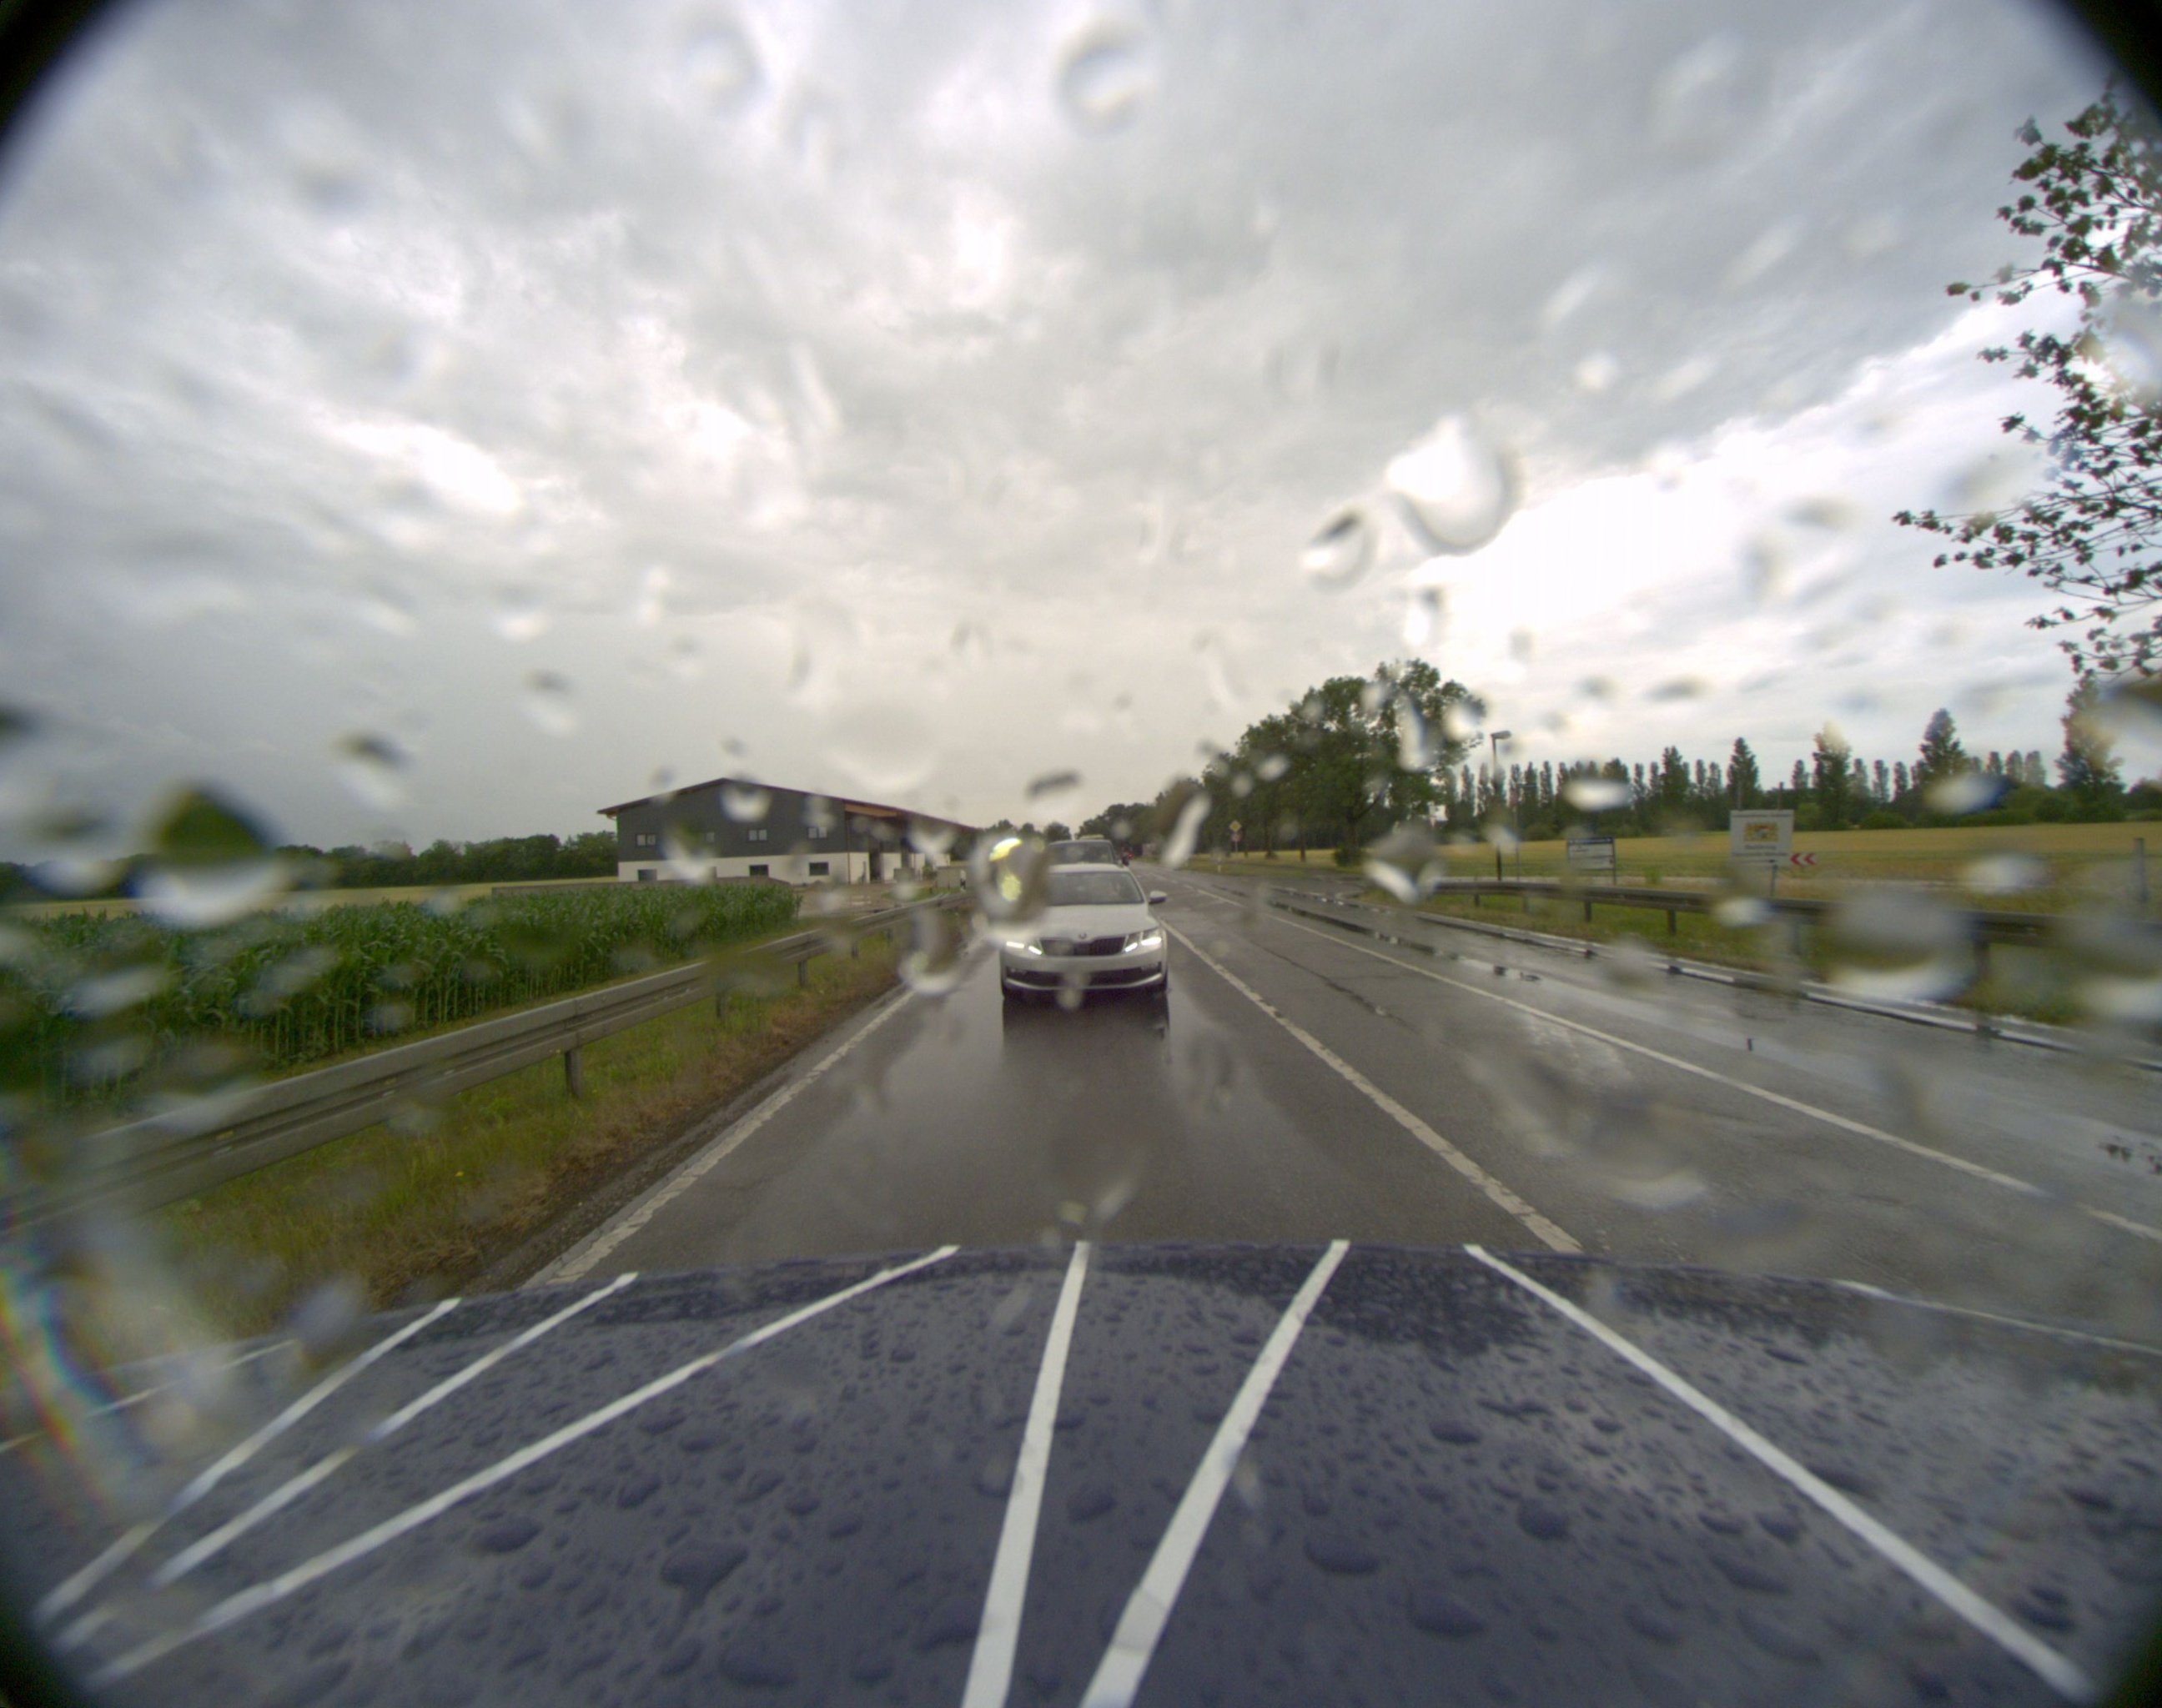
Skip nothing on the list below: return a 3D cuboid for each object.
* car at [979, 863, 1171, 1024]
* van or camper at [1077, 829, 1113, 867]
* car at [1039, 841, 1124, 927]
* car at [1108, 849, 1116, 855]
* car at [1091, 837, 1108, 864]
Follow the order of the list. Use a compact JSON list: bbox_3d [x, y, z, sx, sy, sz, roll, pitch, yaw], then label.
[{"bbox_3d":[0.002,0.880,9.515,1.770,1.365,4.575,-3,0,2],"label":"car"},{"bbox_3d":[1.510,-0.628,79.107,3.342,3.624,8.373,-3,1,2],"label":"van or camper"},{"bbox_3d":[0.073,0.672,19.588,1.841,1.888,4.575,-3,1,2],"label":"car"},{"bbox_3d":[7.963,-0.448,195.991,1.773,1.514,4.141,-1,0,1],"label":"car"},{"bbox_3d":[2.201,-0.418,90.944,1.771,3.134,4.028,-3,0,1],"label":"car"}]
